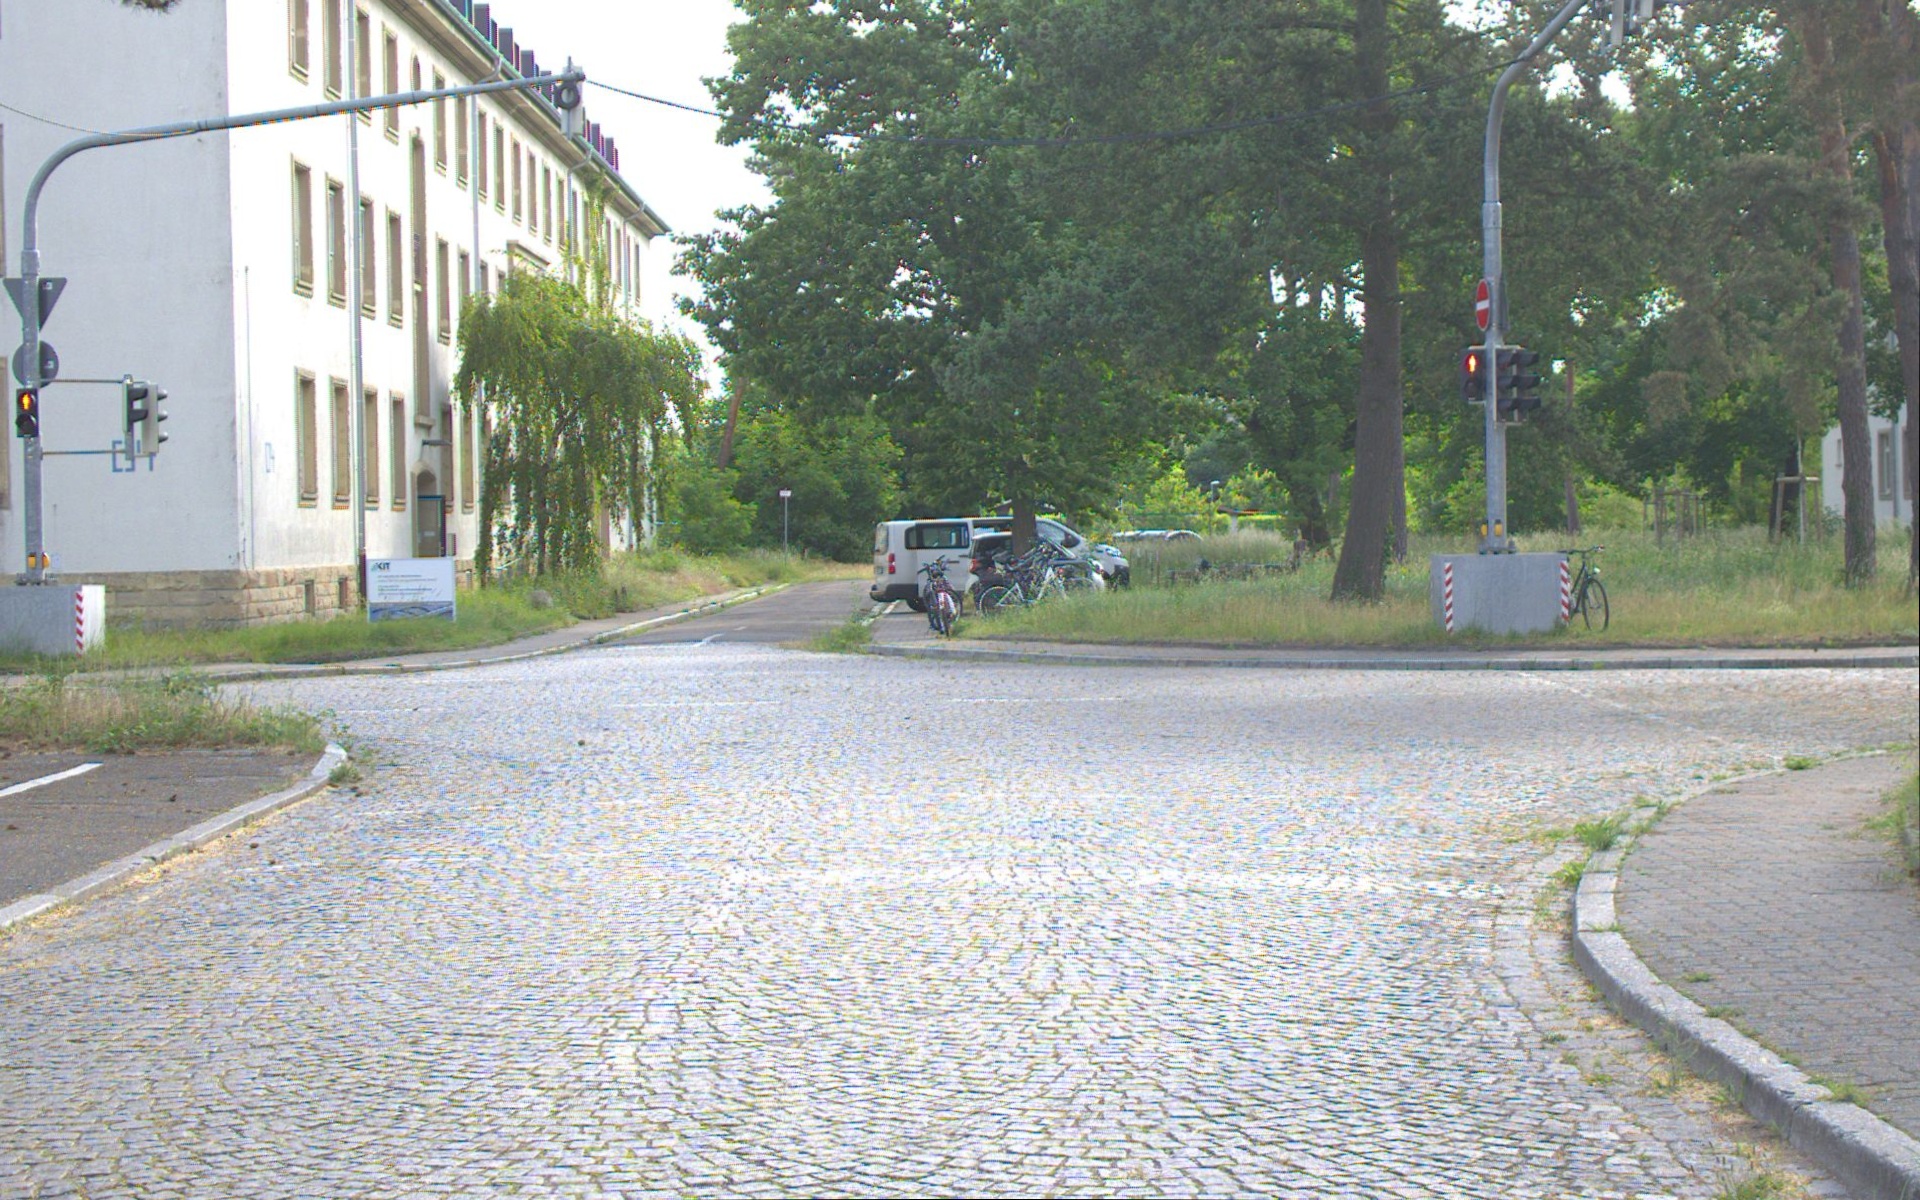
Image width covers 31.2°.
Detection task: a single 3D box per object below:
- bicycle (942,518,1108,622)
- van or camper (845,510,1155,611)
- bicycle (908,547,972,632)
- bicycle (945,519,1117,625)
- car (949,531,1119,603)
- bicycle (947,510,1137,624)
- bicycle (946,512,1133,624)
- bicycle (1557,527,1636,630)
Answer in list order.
[{"bbox_3d":[1.119,-0.517,58.791,2.776,1.688,1.120,1,1,2],"label":"bicycle"},{"bbox_3d":[0.807,-0.831,70.666,6.030,1.942,2.001,-1,1,-13],"label":"van or camper"},{"bbox_3d":[-0.269,-0.158,48.436,0.725,1.104,2.462,-5,1,2],"label":"bicycle"},{"bbox_3d":[1.196,-0.478,57.452,2.776,1.688,1.120,1,1,5],"label":"bicycle"},{"bbox_3d":[1.419,-0.653,67.082,3.137,1.349,1.620,-1,1,-5],"label":"car"},{"bbox_3d":[1.249,-0.512,52.689,2.775,1.688,1.120,-1,1,-5],"label":"bicycle"},{"bbox_3d":[1.230,-0.507,53.884,2.775,1.688,1.120,-1,1,-7],"label":"bicycle"},{"bbox_3d":[7.537,-0.267,40.801,0.724,1.165,2.736,1,1,7],"label":"bicycle"}]
